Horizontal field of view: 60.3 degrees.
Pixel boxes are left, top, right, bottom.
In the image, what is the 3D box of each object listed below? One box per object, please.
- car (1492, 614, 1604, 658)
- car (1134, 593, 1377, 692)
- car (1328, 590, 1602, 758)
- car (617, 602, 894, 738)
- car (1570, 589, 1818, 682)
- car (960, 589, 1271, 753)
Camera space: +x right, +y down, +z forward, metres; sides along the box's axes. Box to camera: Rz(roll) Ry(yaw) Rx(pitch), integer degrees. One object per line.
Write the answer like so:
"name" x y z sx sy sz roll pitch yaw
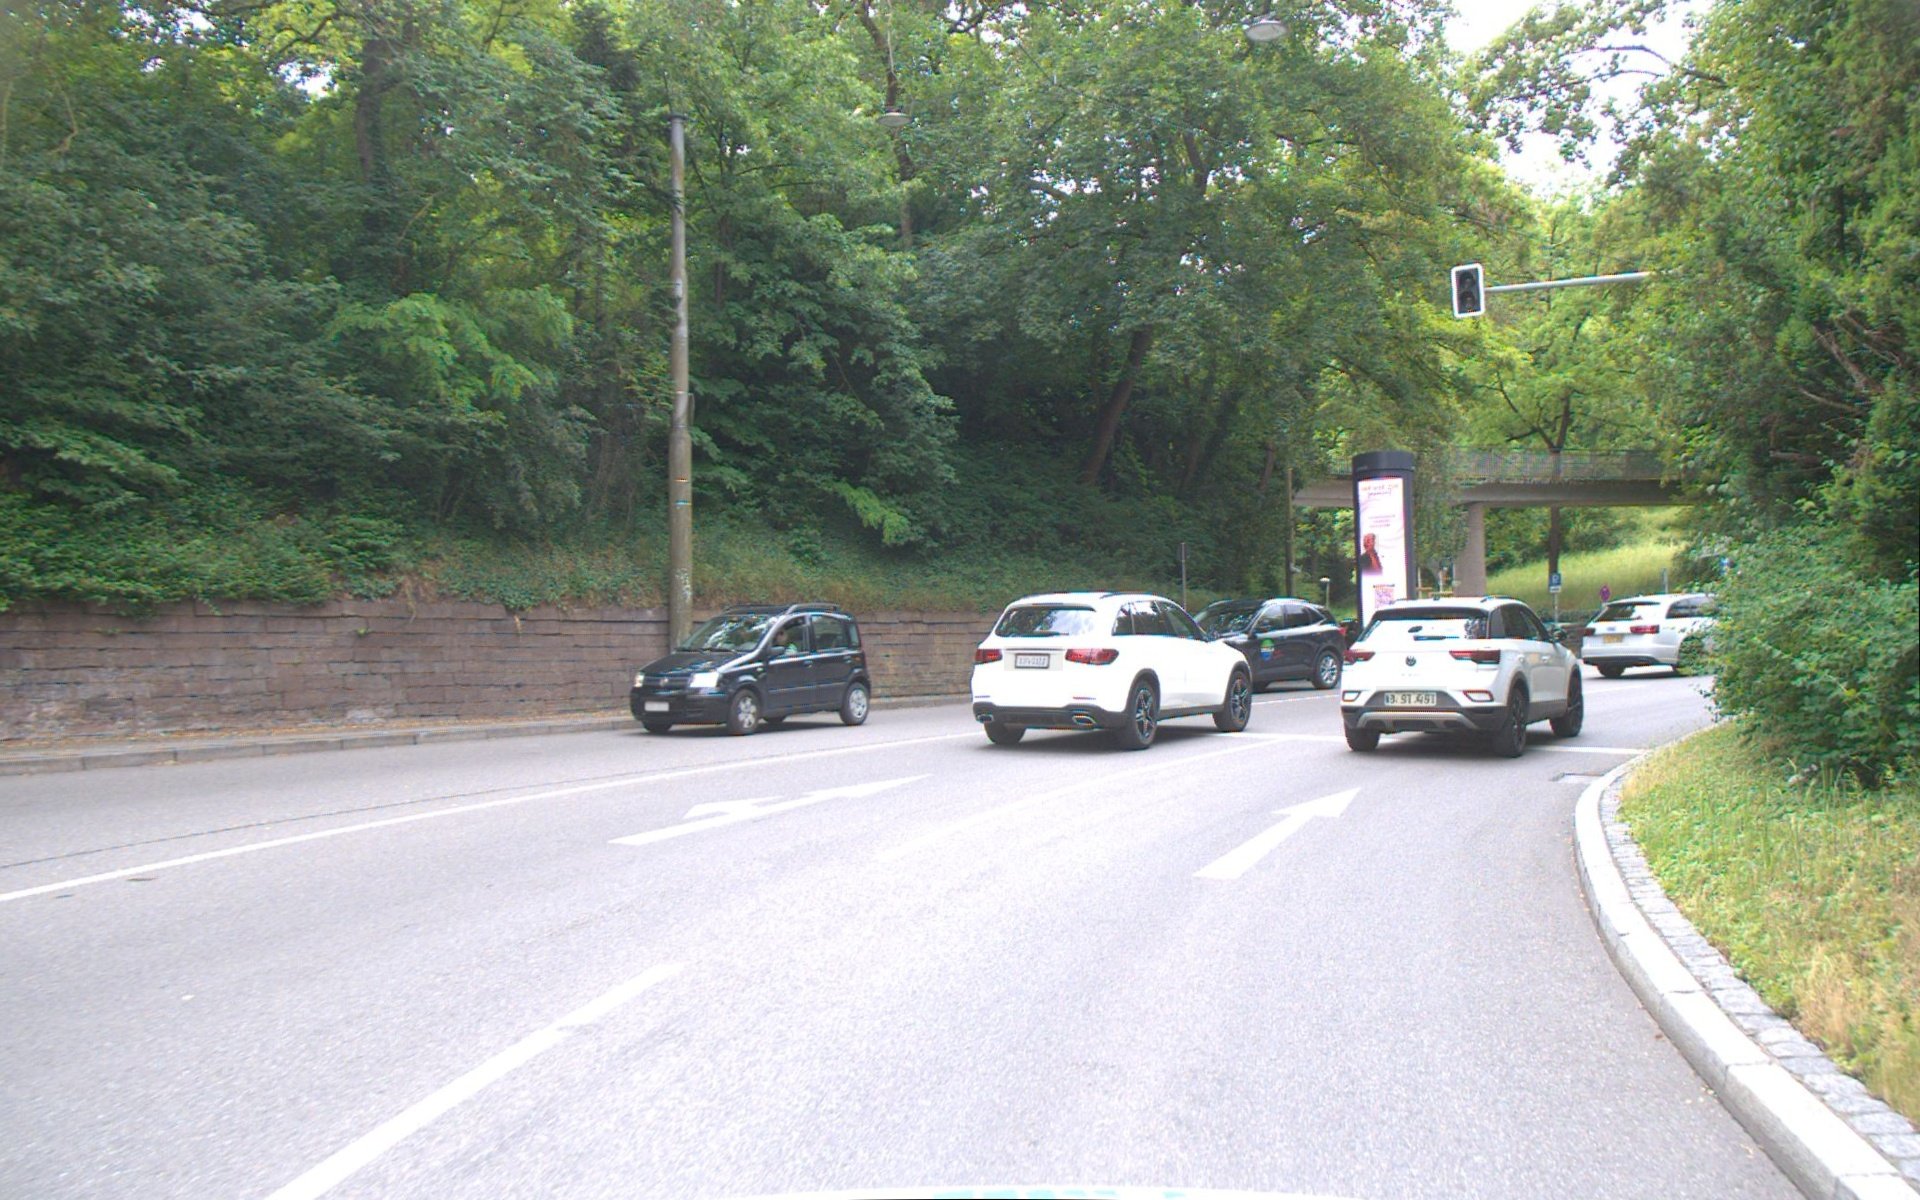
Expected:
"car" 22.615 1.388 63.613 3.934 1.579 1.763 0 -3 -24
"car" 5.390 0.725 29.830 4.604 1.653 1.735 0 -2 -39
"car" 5.581 0.708 17.926 1.723 1.580 4.325 -1 0 33
"car" -2.476 0.817 20.823 1.479 1.552 3.650 0 -1 33
"car" 13.768 0.623 30.965 4.711 1.561 1.852 -1 0 -30
"car" 1.928 0.703 18.968 1.824 1.634 4.663 -1 0 29
